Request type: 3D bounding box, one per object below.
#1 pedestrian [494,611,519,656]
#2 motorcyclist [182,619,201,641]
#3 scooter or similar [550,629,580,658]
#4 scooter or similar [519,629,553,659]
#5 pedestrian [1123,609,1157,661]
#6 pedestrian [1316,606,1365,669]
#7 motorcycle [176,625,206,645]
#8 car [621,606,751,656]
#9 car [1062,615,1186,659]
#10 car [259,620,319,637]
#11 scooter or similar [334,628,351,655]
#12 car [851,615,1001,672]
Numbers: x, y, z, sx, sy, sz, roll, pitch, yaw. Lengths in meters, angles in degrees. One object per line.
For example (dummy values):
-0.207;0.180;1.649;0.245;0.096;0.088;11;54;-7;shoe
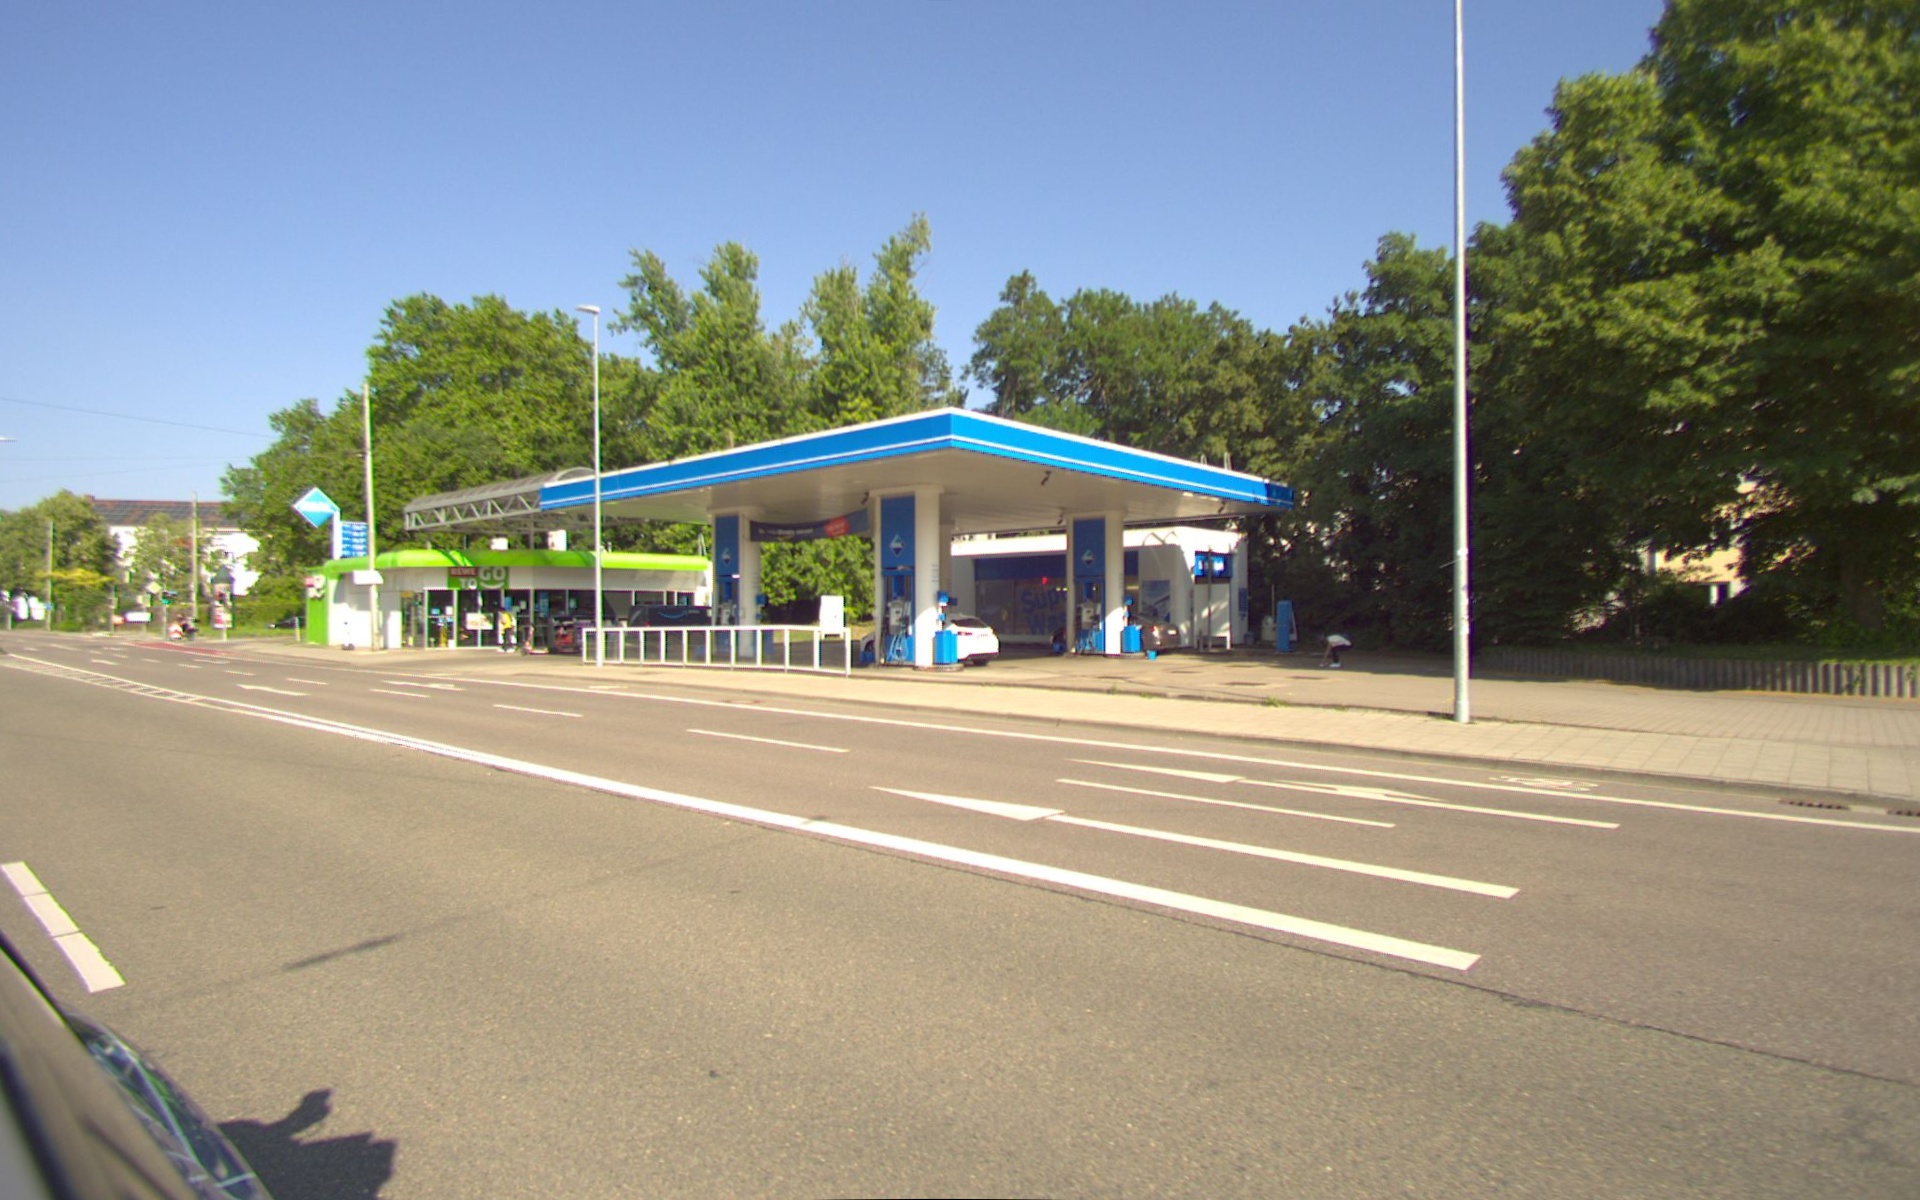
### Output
-17.628;1.289;39.349;0.655;1.744;0.603;0;-2;7;pedestrian
-49.400;1.914;65.053;0.722;1.399;0.867;0;-2;-16;motorcyclist
-15.313;1.685;39.244;1.016;1.118;0.351;1;-2;-42;scooter or similar
-16.102;1.655;38.467;1.127;1.125;0.351;1;-2;-40;scooter or similar
5.989;1.166;33.709;0.795;1.703;0.807;-2;-2;41;pedestrian
10.639;1.038;28.309;1.066;1.726;0.813;-1;-2;42;pedestrian
-49.405;2.233;65.050;0.722;1.237;2.270;0;-1;-16;motorcycle
-11.420;1.278;42.439;1.858;1.955;5.013;-2;-2;45;car
5.646;1.262;35.141;4.001;1.457;1.717;-1;-2;44;car
-59.486;2.493;89.764;1.690;1.454;4.140;-2;-2;43;car
-26.651;1.783;43.676;1.143;1.169;0.345;-2;-2;42;scooter or similar
-1.013;1.191;28.674;4.273;1.502;1.718;-1;-2;42;car
